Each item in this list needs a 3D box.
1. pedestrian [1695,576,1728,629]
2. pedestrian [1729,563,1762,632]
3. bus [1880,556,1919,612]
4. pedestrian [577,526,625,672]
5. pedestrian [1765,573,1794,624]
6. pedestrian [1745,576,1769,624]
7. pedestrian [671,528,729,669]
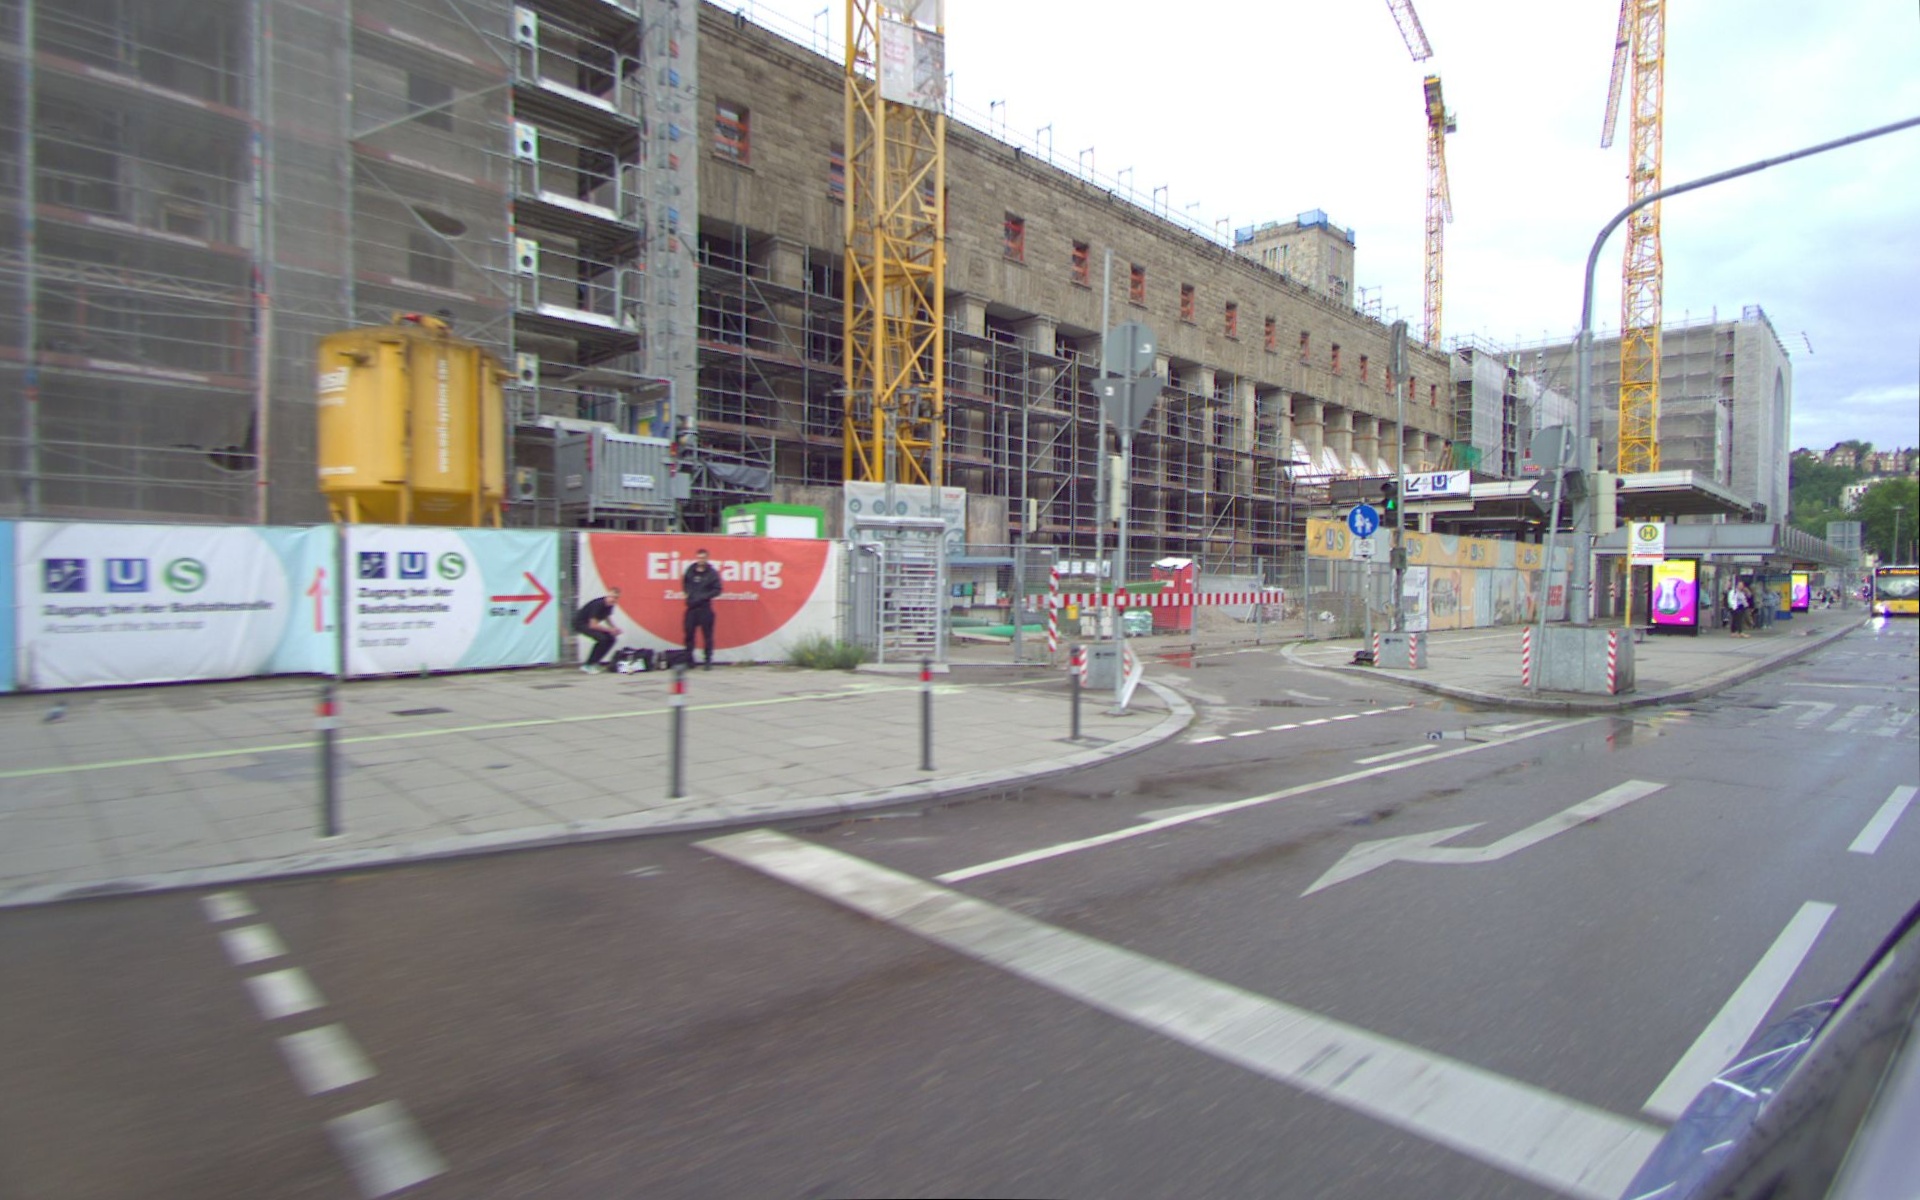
[{"bbox_3d":[24.755,0.063,33.337,0.608,1.714,0.681,0,2,-39],"label":"pedestrian"},{"bbox_3d":[23.909,-0.083,30.799,0.732,2.038,0.637,2,2,40],"label":"pedestrian"},{"bbox_3d":[57.311,-0.958,60.714,2.991,3.177,7.644,2,2,43],"label":"bus"},{"bbox_3d":[-5.146,-0.021,14.518,0.615,2.038,0.642,1,1,-20],"label":"pedestrian"},{"bbox_3d":[30.514,-0.066,37.684,0.722,1.846,0.645,0,2,-40],"label":"pedestrian"},{"bbox_3d":[29.171,0.005,37.027,0.548,1.714,0.544,0,2,-40],"label":"pedestrian"},{"bbox_3d":[-3.869,-0.030,15.081,0.618,2.038,0.576,1,1,14],"label":"pedestrian"}]
